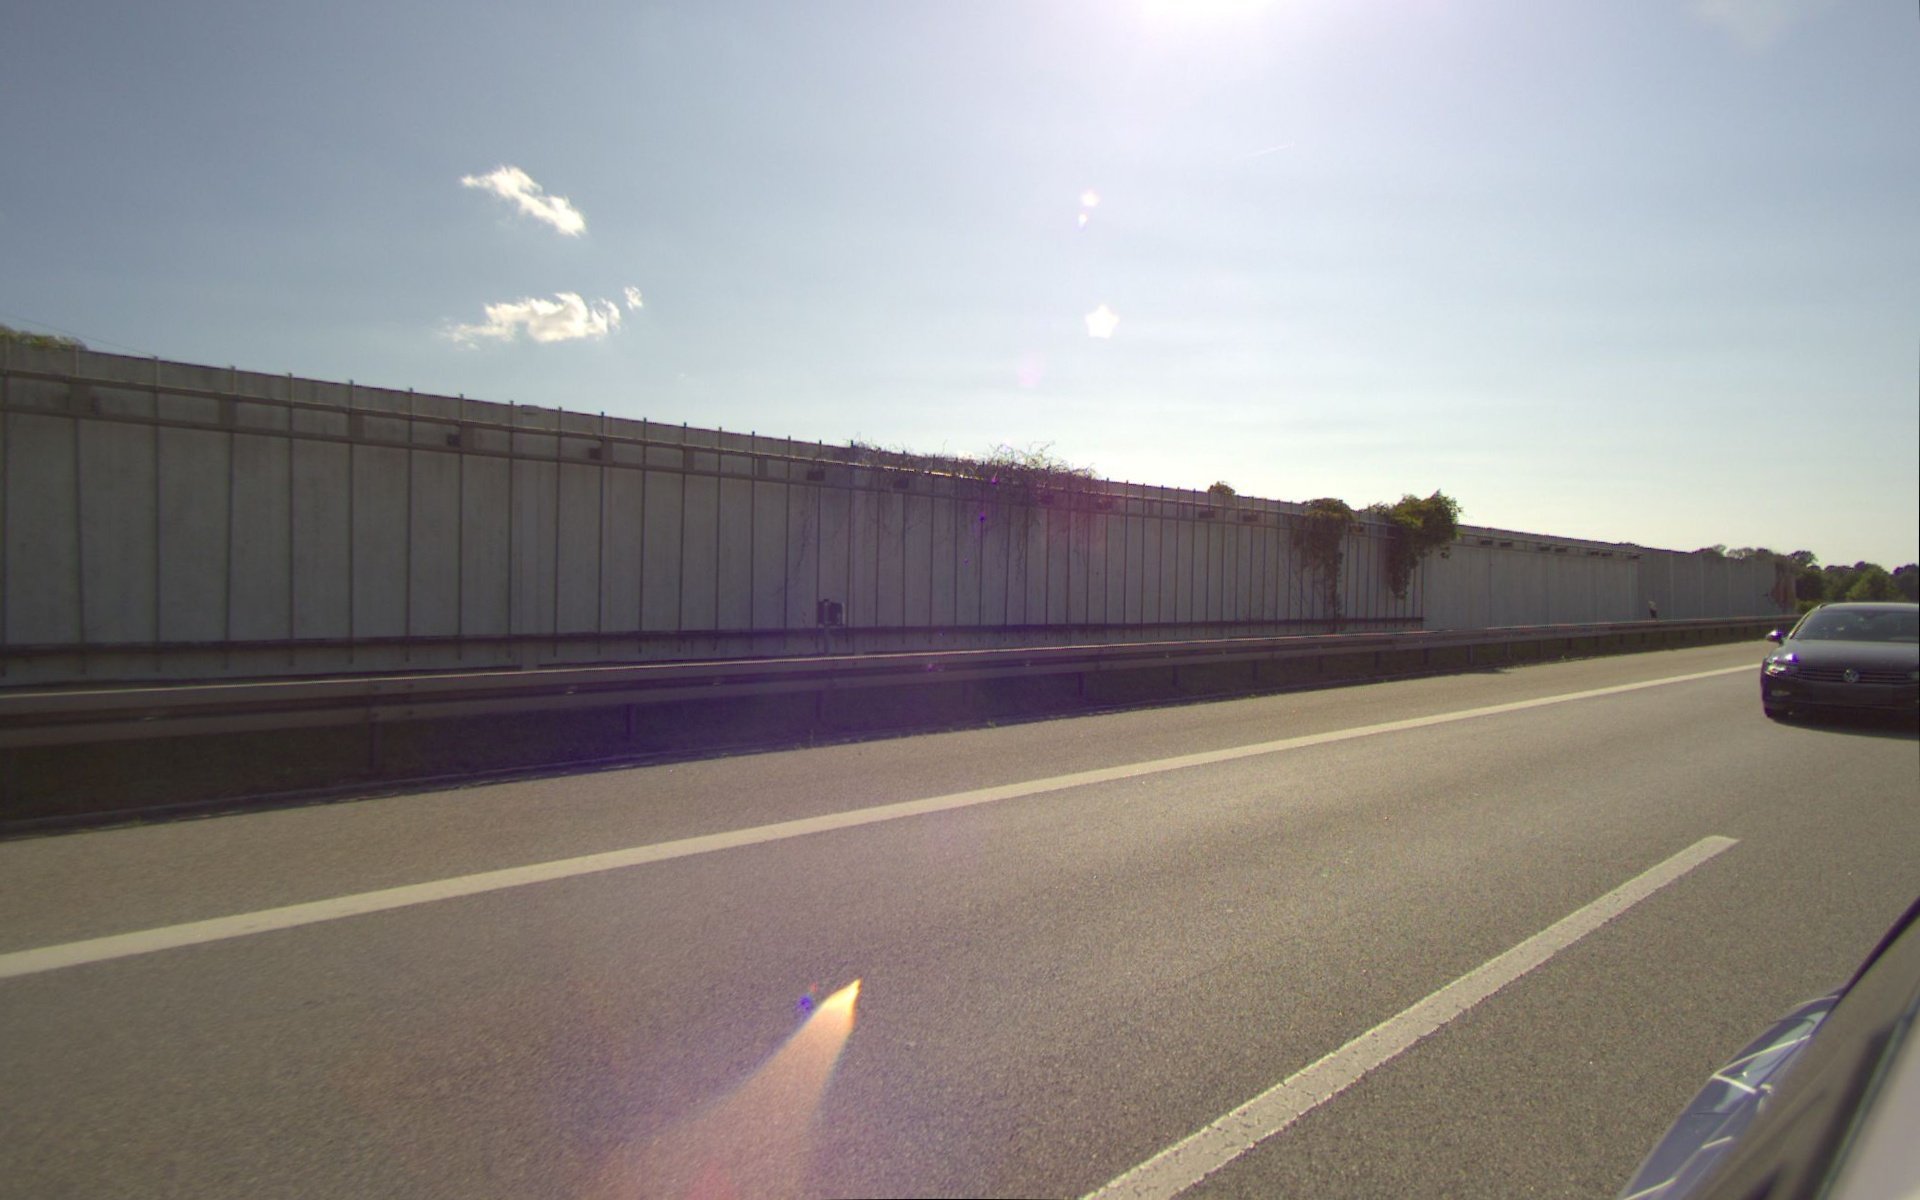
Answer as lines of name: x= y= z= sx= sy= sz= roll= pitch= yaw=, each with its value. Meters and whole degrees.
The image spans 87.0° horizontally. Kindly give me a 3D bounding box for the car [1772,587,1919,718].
car: x=11.944 y=0.559 z=12.964 sx=4.338 sy=1.417 sz=1.721 roll=-1 pitch=1 yaw=-42
